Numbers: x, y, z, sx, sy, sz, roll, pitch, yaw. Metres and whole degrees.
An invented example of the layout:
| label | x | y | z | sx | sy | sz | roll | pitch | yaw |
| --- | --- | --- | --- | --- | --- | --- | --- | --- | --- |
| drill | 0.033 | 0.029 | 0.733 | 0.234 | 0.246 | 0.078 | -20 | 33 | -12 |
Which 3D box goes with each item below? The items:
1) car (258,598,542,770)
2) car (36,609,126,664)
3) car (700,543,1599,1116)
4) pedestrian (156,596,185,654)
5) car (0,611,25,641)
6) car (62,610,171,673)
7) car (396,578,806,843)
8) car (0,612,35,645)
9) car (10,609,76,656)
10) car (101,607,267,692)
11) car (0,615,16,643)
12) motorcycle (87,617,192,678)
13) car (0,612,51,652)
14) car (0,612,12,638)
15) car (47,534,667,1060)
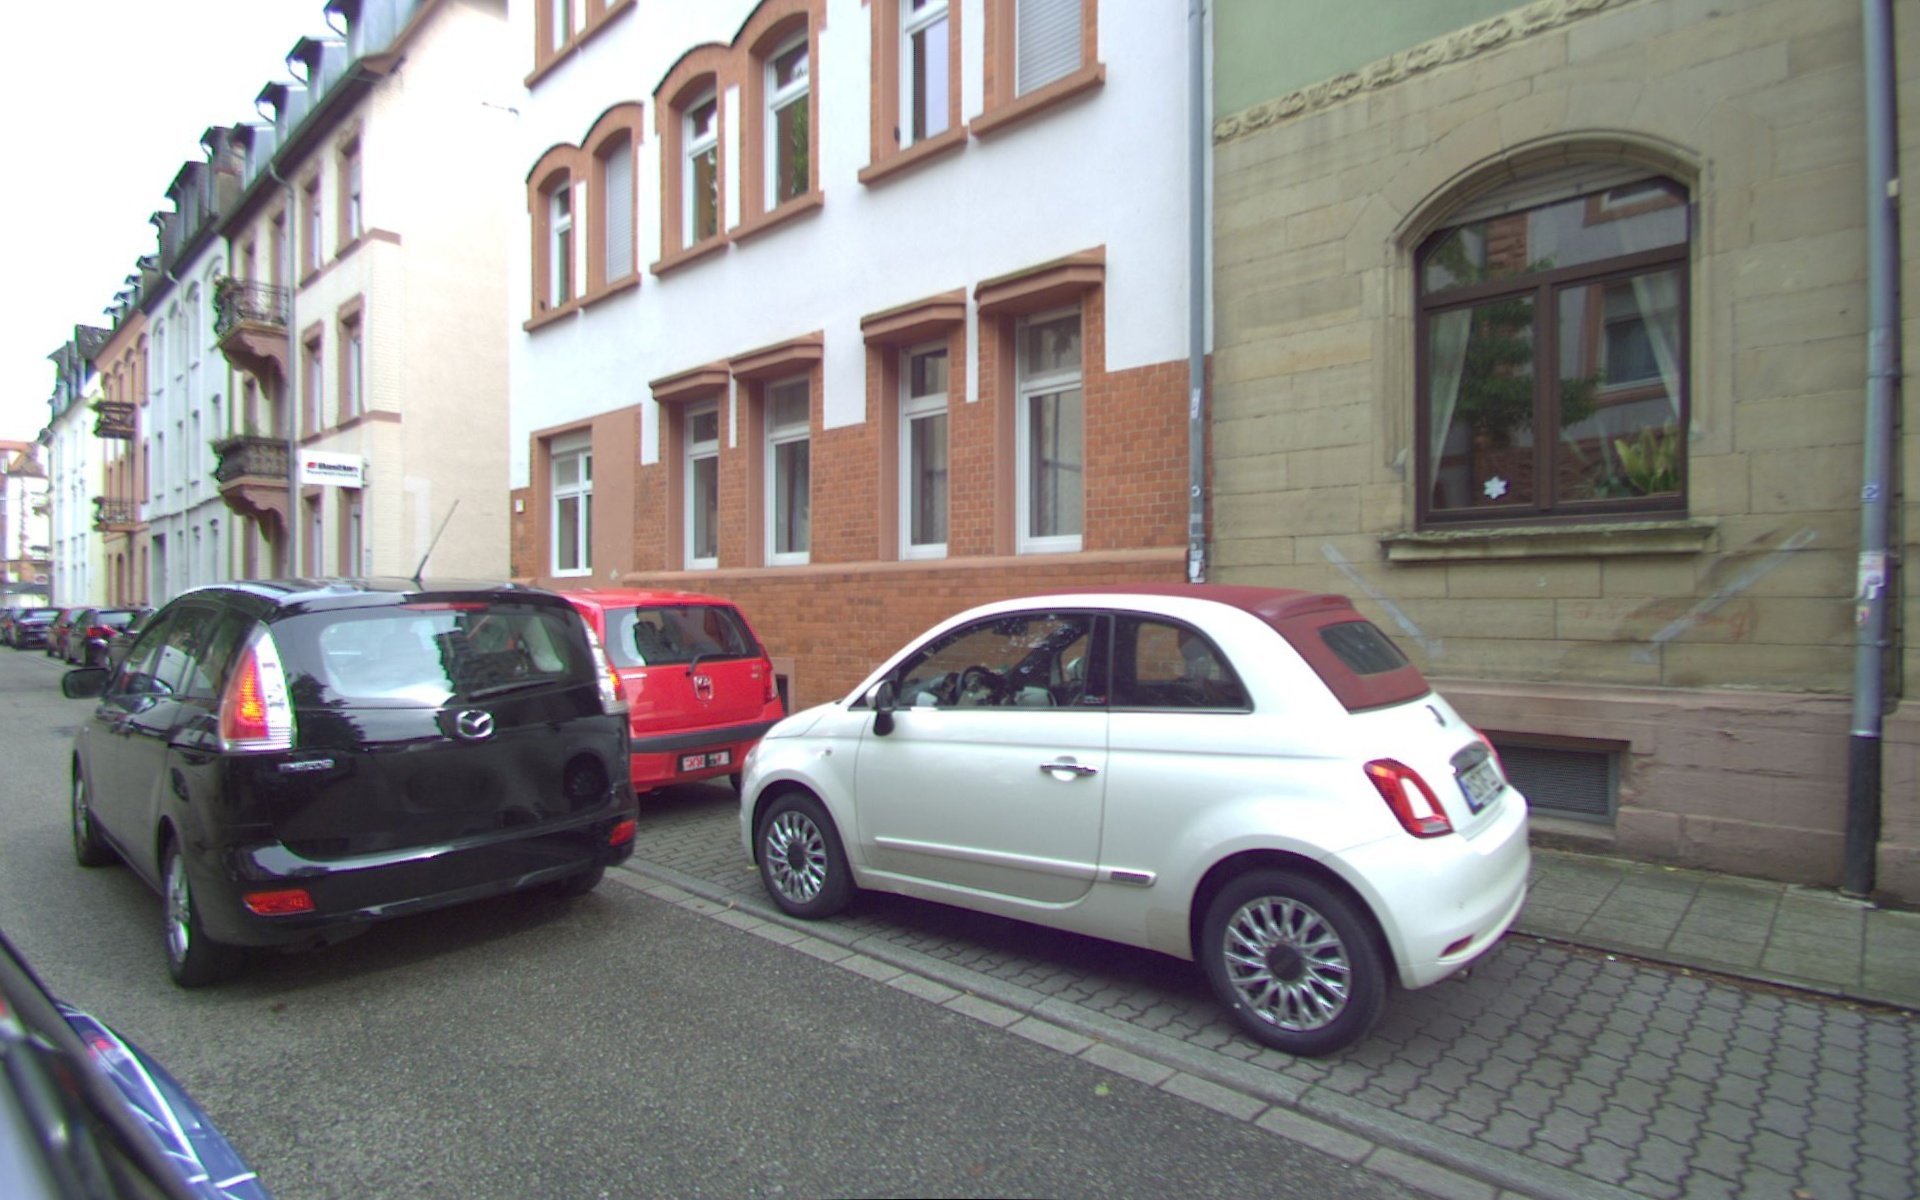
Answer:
| label | x | y | z | sx | sy | sz | roll | pitch | yaw |
| --- | --- | --- | --- | --- | --- | --- | --- | --- | --- |
| car | -5.926 | 0.748 | 10.500 | 3.918 | 1.427 | 1.449 | -1 | 0 | 44 |
| car | -25.249 | 0.997 | 29.046 | 3.343 | 1.483 | 1.589 | -1 | -1 | 43 |
| car | 0.622 | 0.630 | 4.466 | 3.550 | 1.522 | 1.650 | -1 | 0 | 39 |
| pedestrian | -22.406 | 0.707 | 28.727 | 0.544 | 1.621 | 0.570 | -1 | -1 | 43 |
| car | -47.177 | 1.273 | 49.869 | 3.812 | 1.420 | 1.437 | -1 | 0 | 45 |
| car | -20.704 | 0.963 | 24.792 | 3.472 | 1.393 | 1.637 | -1 | 1 | 43 |
| car | -2.866 | 0.663 | 7.675 | 3.569 | 1.542 | 1.449 | -1 | 0 | 44 |
| car | -43.483 | 1.288 | 46.345 | 3.812 | 1.420 | 1.437 | -1 | 0 | 45 |
| car | -31.444 | 1.079 | 34.686 | 3.042 | 1.420 | 1.437 | 1 | 2 | 43 |
| car | -14.682 | 0.864 | 19.069 | 4.001 | 1.401 | 1.879 | -1 | 0 | 43 |
| car | -50.573 | 1.549 | 53.019 | 3.812 | 1.420 | 1.437 | -1 | 0 | 45 |
| motorcycle | -17.522 | 1.001 | 21.651 | 1.684 | 1.235 | 0.487 | -1 | 0 | -29 |
| car | -36.224 | 1.214 | 39.066 | 3.812 | 1.420 | 1.437 | -1 | 0 | 45 |
| car | -53.953 | 1.418 | 56.443 | 3.812 | 1.420 | 1.437 | -1 | 0 | 45 |
| car | -3.405 | 0.625 | 5.291 | 4.209 | 1.642 | 1.789 | 0 | 0 | 45 |
